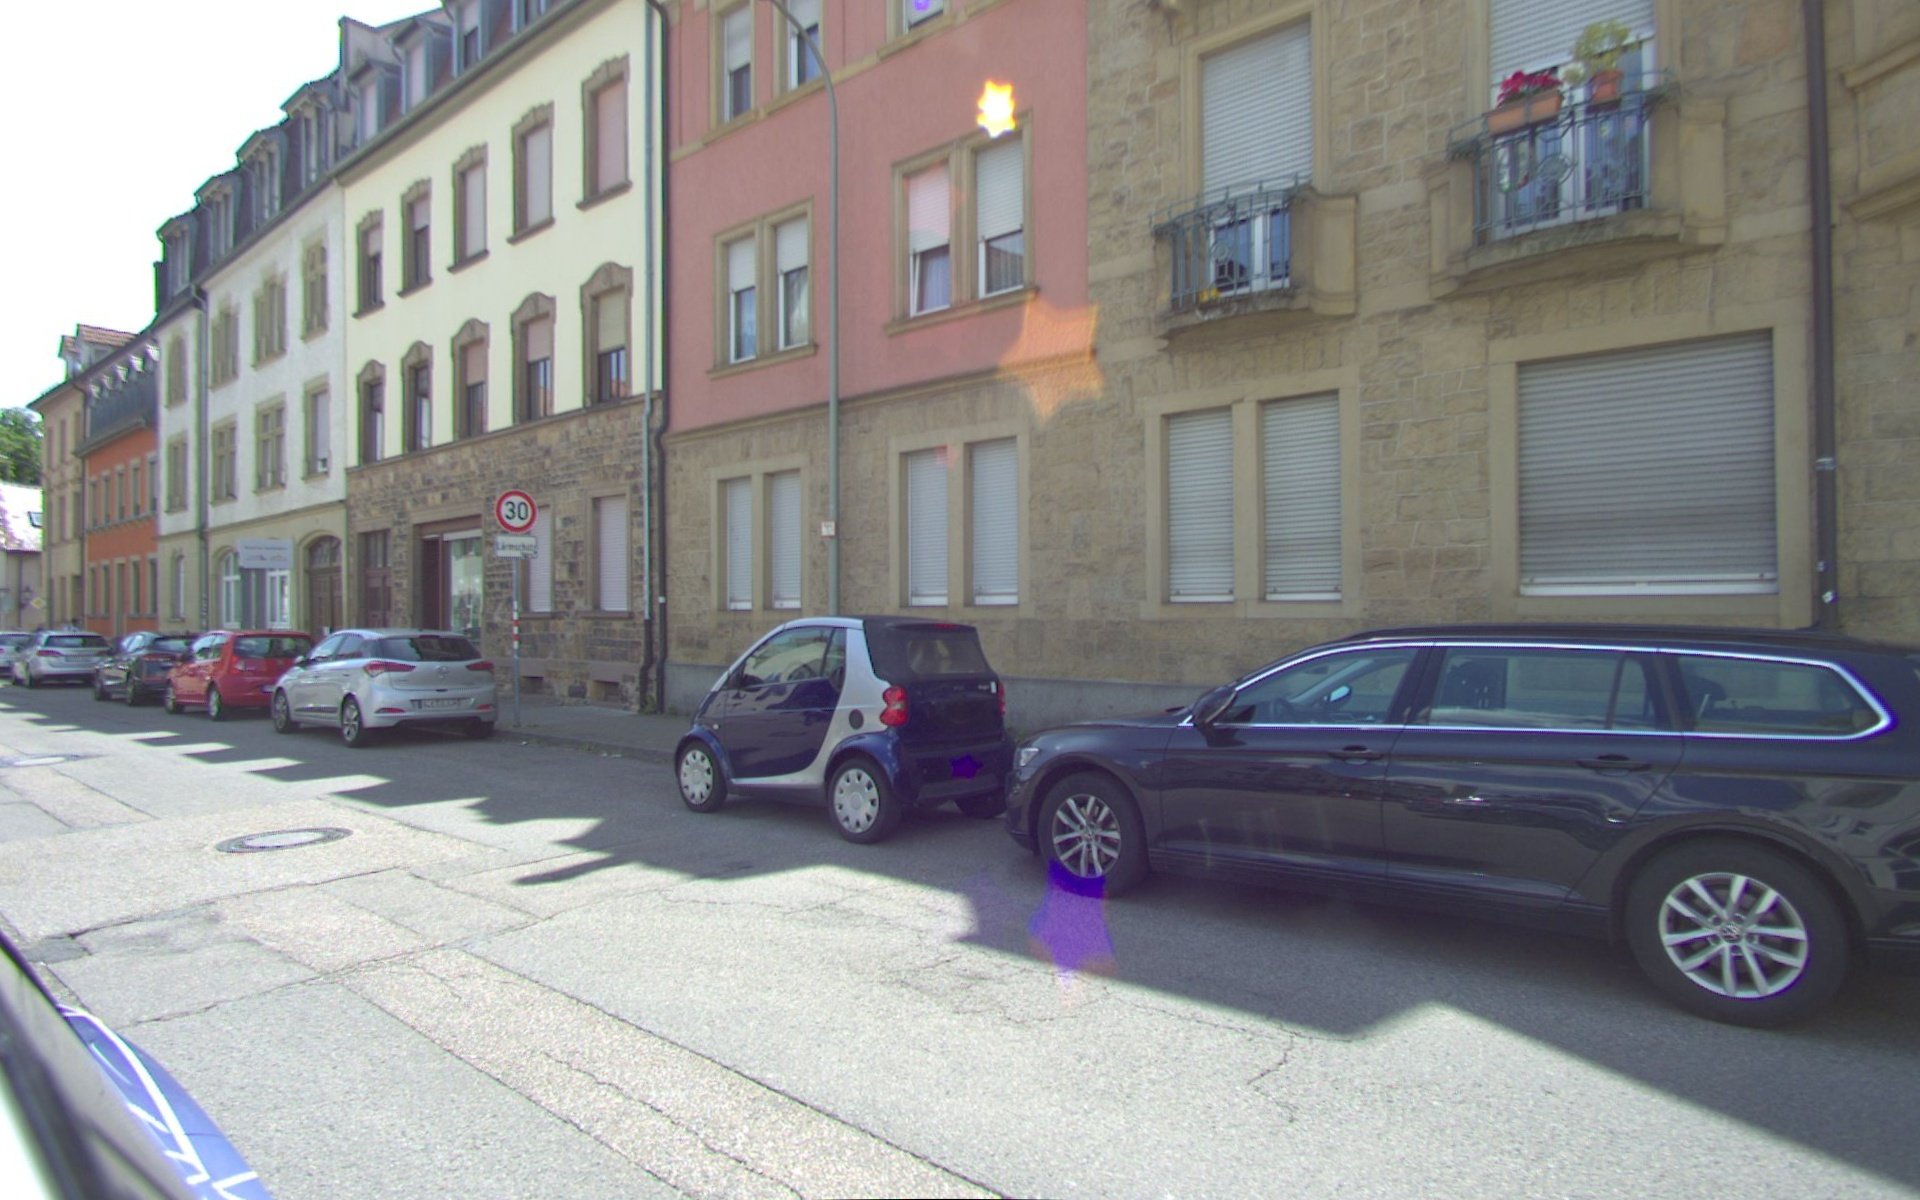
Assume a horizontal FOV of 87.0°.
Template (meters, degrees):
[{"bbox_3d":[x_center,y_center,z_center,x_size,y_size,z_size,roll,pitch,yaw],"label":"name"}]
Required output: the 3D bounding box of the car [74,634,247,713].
[{"bbox_3d":[-16.539,1.440,20.867,4.212,1.449,1.854,-2,-2,38],"label":"car"}]

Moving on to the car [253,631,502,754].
[{"bbox_3d":[-8.008,1.159,13.789,4.014,1.442,1.618,-2,-3,40],"label":"car"}]

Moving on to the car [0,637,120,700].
[{"bbox_3d":[-24.175,1.773,27.048,4.377,1.522,1.859,-2,-2,39],"label":"car"}]

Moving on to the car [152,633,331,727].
[{"bbox_3d":[-12.447,1.308,17.489,3.490,1.453,1.583,-2,-2,38],"label":"car"}]

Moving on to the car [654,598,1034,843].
[{"bbox_3d":[-0.944,0.789,7.759,2.692,1.534,1.422,-1,-2,39],"label":"car"}]

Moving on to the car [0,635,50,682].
[{"bbox_3d":[-30.920,1.863,32.644,3.848,1.470,1.693,-2,-3,39],"label":"car"}]

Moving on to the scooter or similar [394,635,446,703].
[{"bbox_3d":[-10.154,1.279,19.021,1.318,1.230,0.371,-2,-2,39],"label":"scooter or similar"}]

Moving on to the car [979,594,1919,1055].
[{"bbox_3d":[2.435,0.755,4.928,4.631,1.469,1.764,-1,-2,40],"label":"car"}]

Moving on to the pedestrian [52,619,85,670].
[{"bbox_3d":[-32.572,1.619,36.968,0.763,1.784,0.761,-2,0,38],"label":"pedestrian"}]
